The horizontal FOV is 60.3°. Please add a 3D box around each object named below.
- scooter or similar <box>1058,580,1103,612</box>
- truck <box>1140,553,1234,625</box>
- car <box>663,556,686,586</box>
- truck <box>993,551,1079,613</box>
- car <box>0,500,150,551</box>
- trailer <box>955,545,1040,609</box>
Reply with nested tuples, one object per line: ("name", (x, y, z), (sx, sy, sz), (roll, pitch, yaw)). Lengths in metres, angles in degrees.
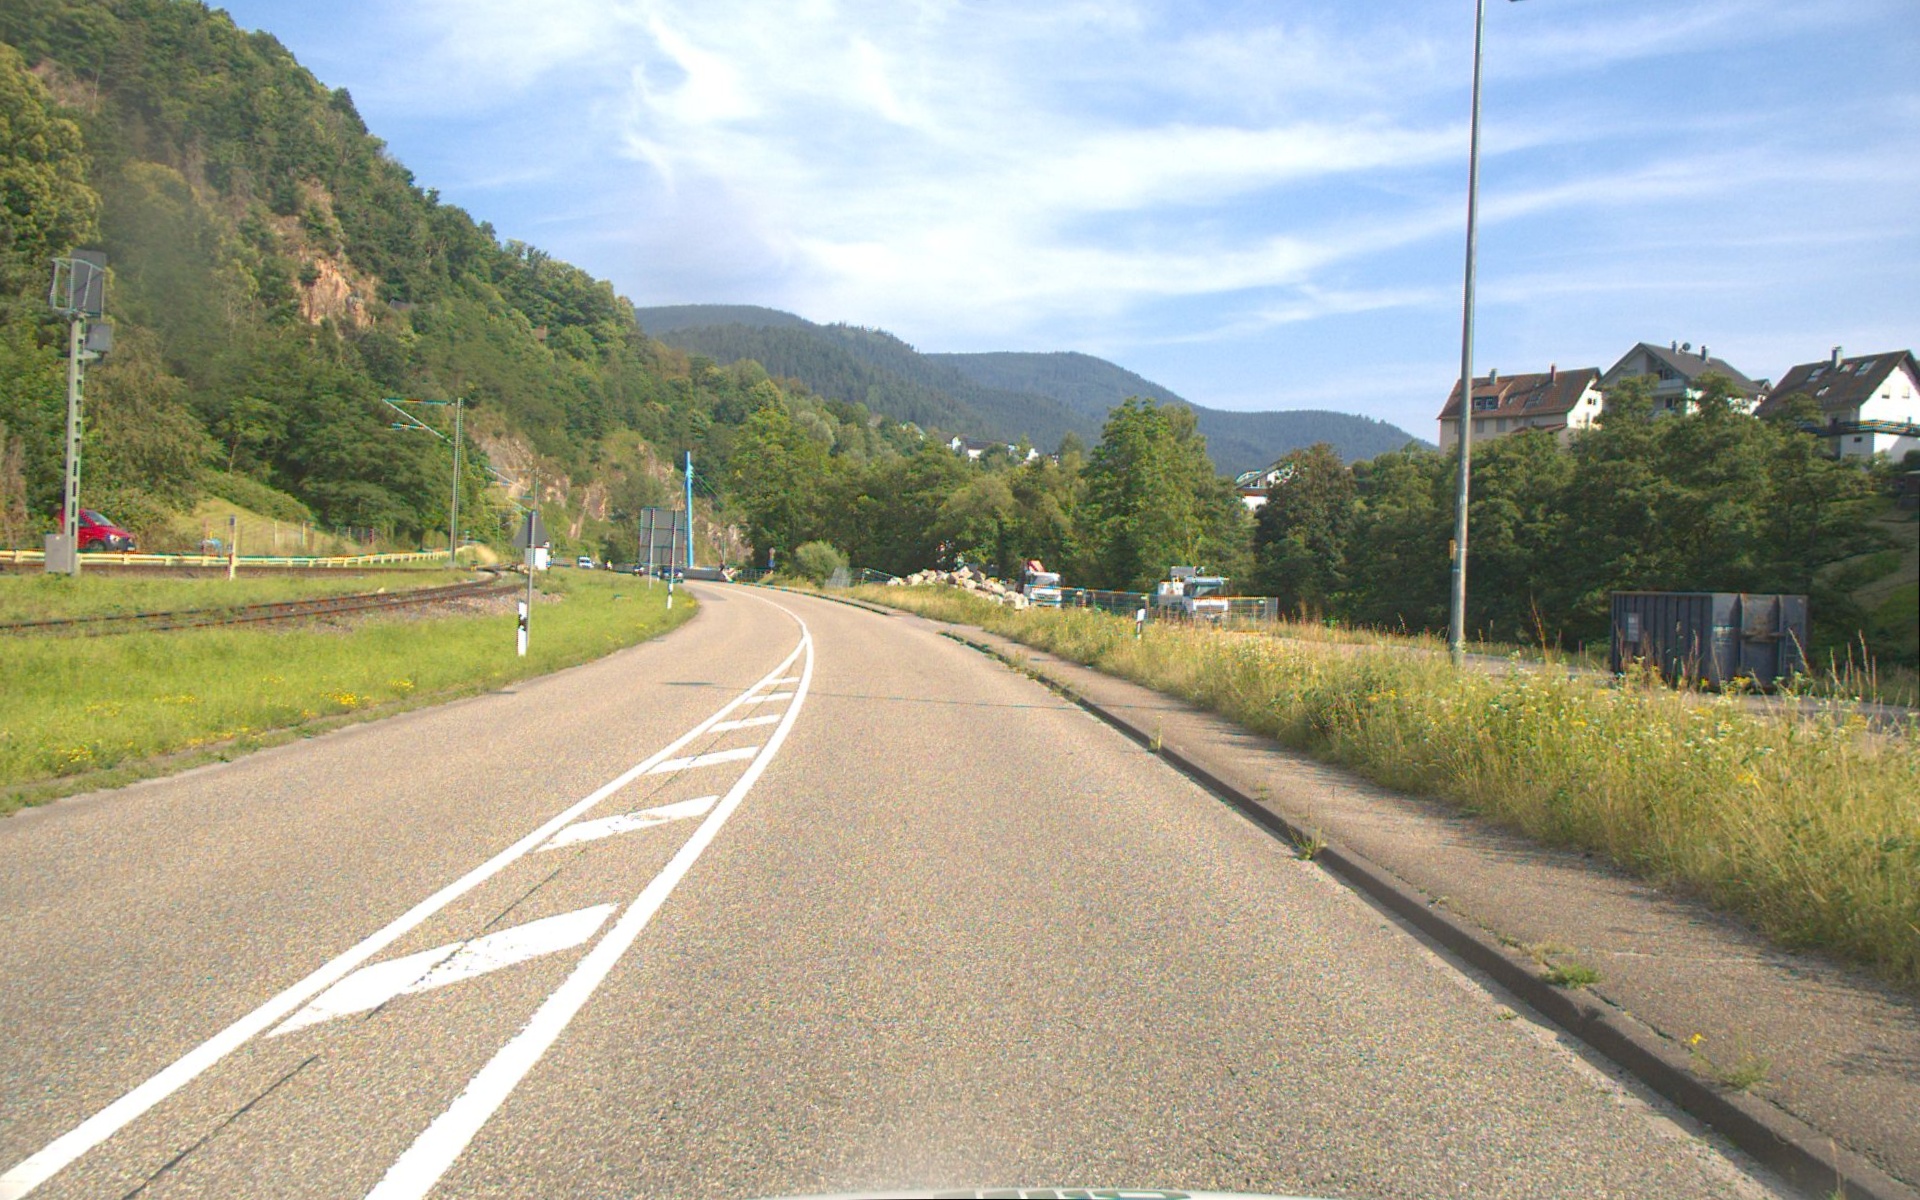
("scooter or similar", (8.144, -0.302, 112.275), (1.959, 2.048, 3.987), (1, 1, -13))
("truck", (13.105, -0.701, 96.223), (3.045, 3.847, 8.631), (3, 1, -7))
("car", (-26.145, -2.674, 151.389), (2.088, 2.661, 5.467), (0, 1, -10))
("truck", (5.076, -1.288, 112.735), (3.053, 3.847, 8.607), (3, 1, -16))
("car", (-35.256, -2.953, 65.664), (4.863, 1.721, 2.455), (3, 0, -1))
("trailer", (2.676, -1.722, 121.629), (3.310, 4.348, 9.866), (3, 0, -16))
